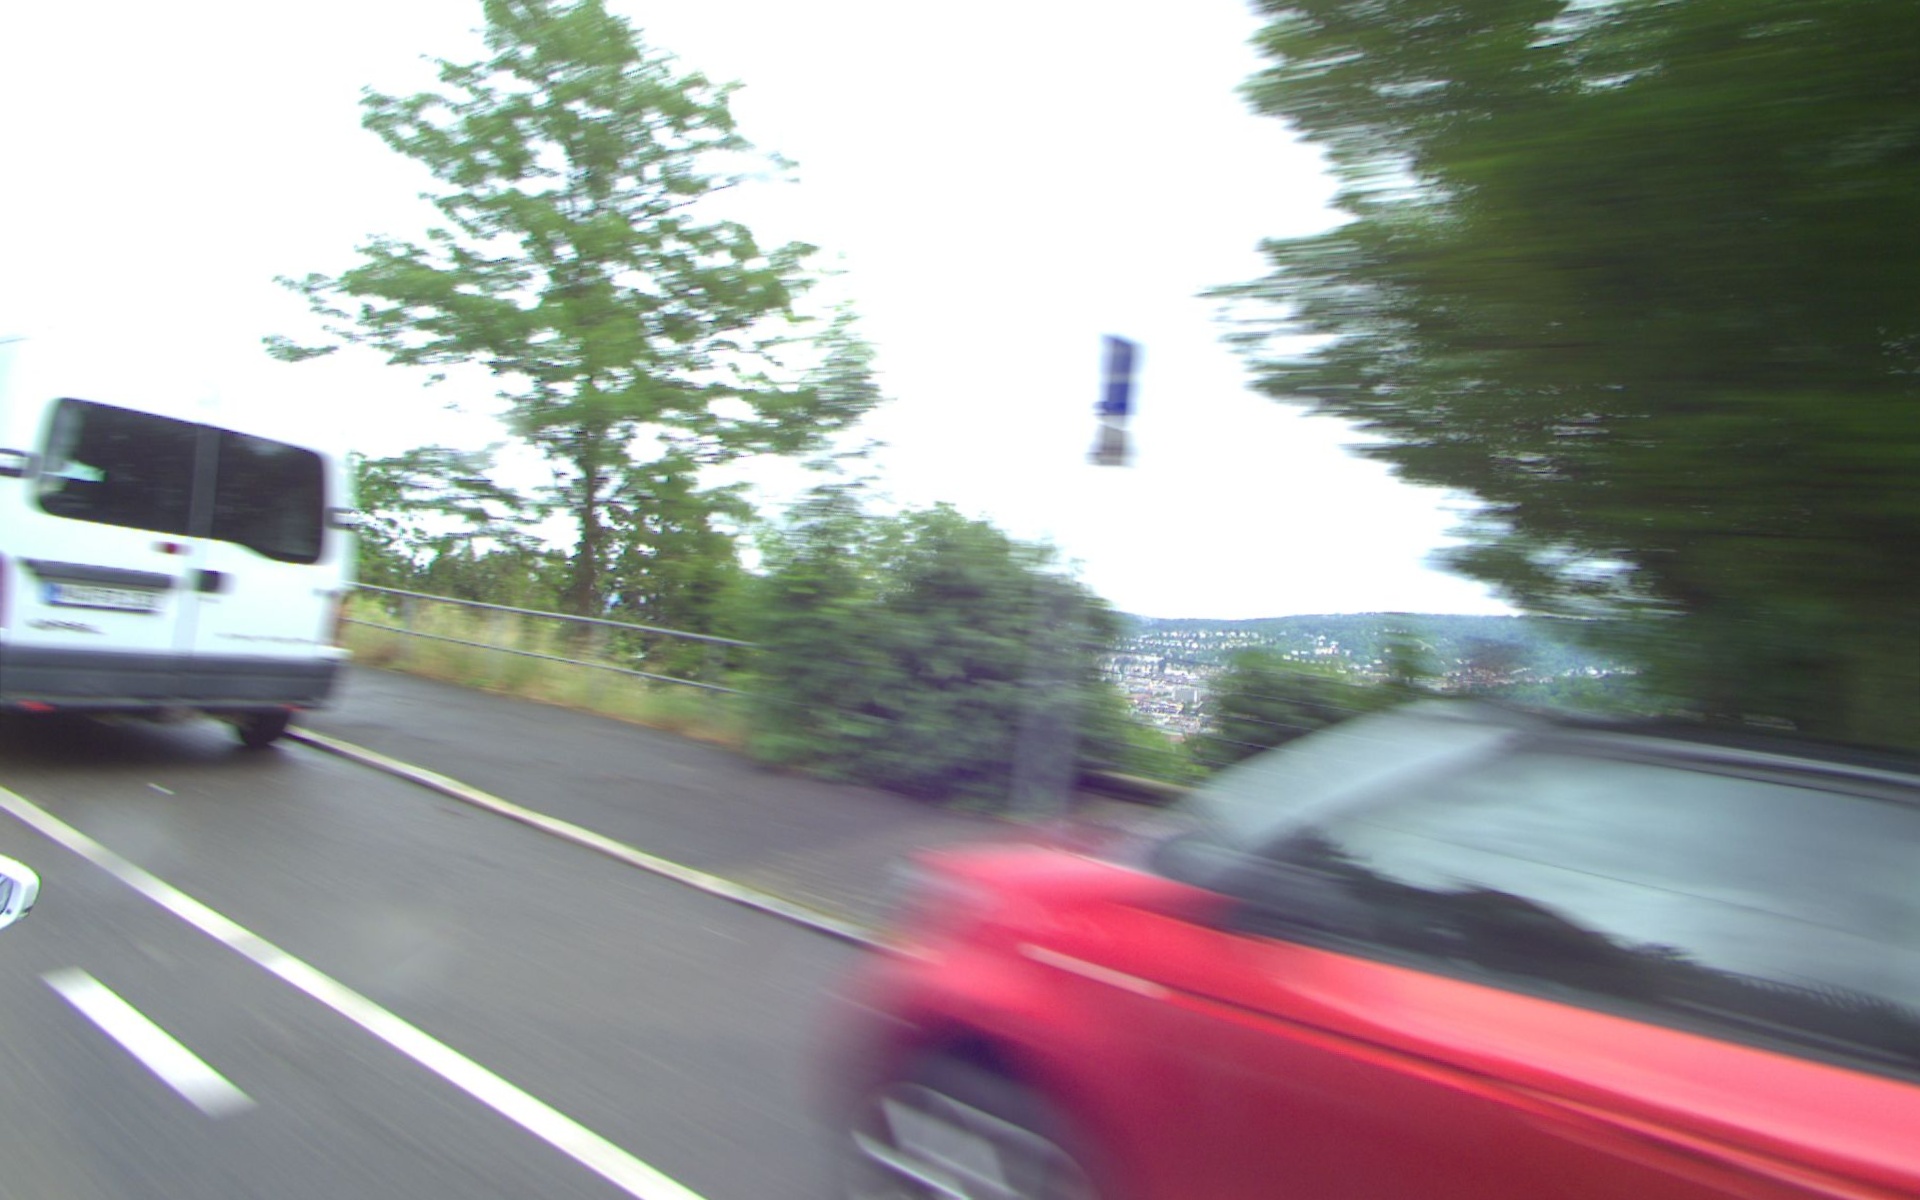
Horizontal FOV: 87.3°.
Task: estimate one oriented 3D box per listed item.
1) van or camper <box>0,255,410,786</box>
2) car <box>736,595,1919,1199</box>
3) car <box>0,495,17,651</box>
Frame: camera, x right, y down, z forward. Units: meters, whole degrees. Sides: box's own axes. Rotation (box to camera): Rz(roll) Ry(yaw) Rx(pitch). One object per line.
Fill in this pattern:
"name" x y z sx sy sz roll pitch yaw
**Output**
"van or camper" -6.737 -0.562 7.388 5.503 2.692 2.077 7 -1 32
"car" 1.558 1.021 2.195 3.769 1.558 1.685 7 -1 32
"car" -11.735 -0.520 10.434 4.143 1.559 1.623 7 0 30
